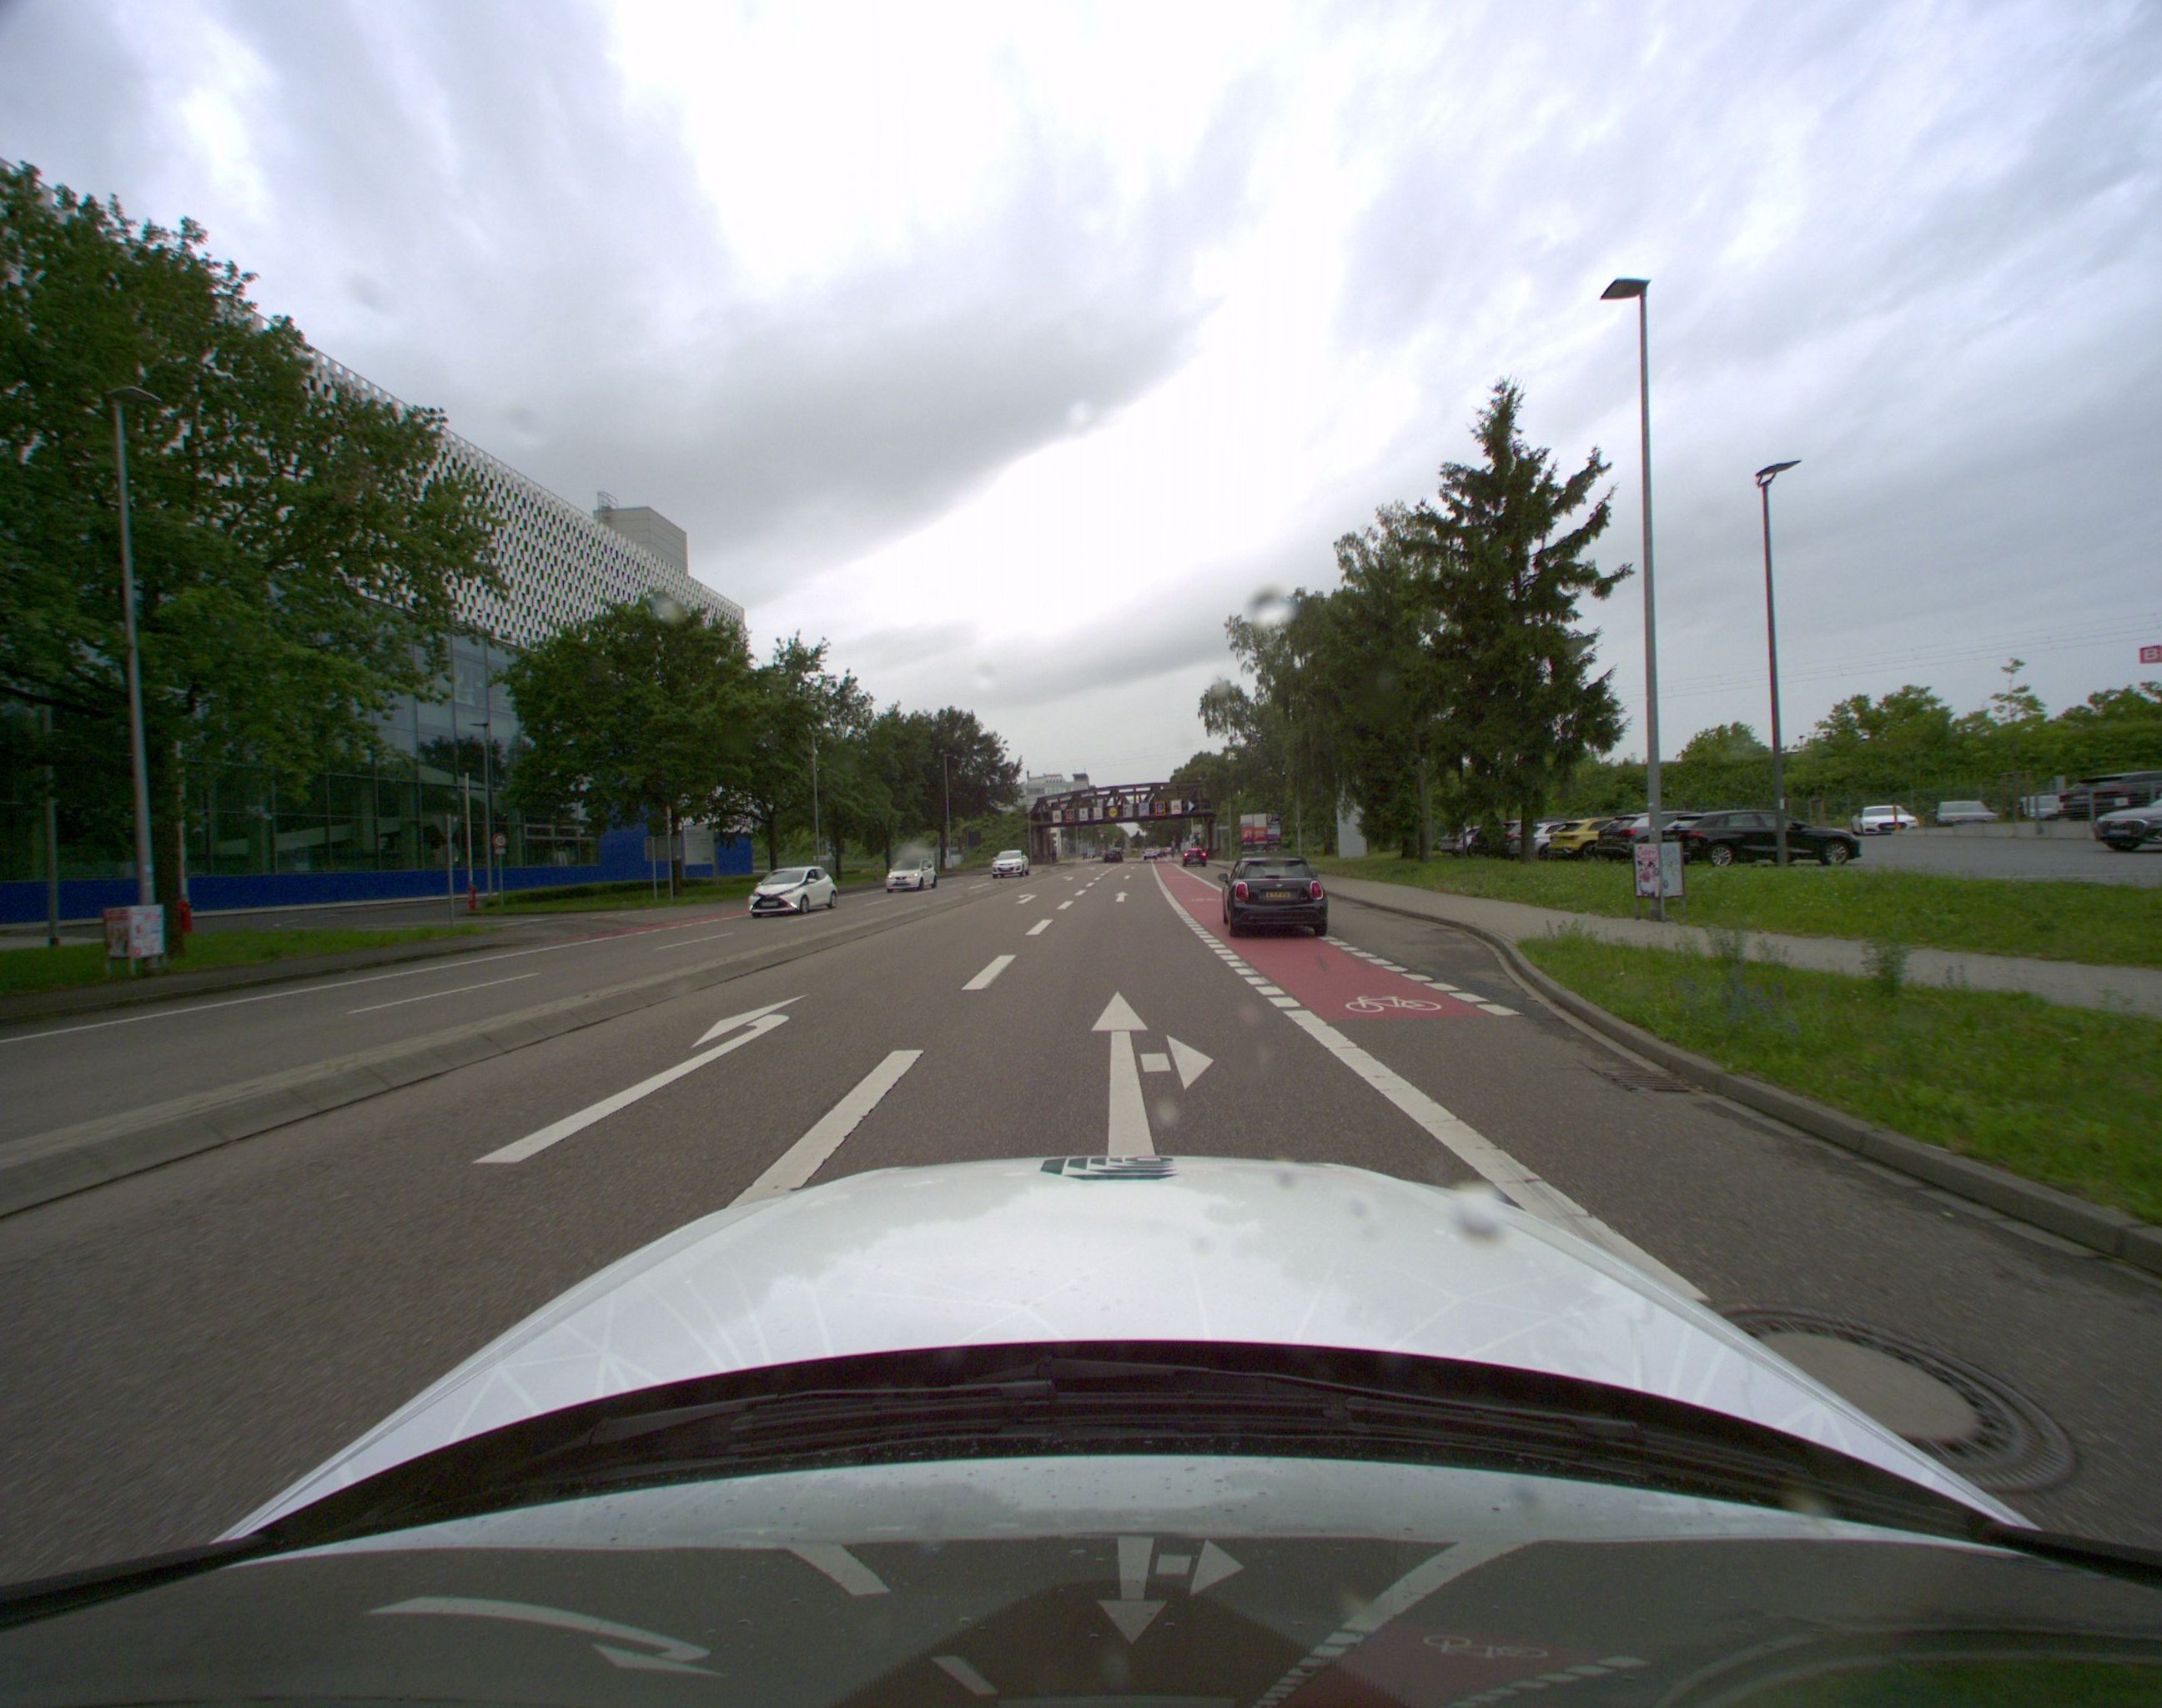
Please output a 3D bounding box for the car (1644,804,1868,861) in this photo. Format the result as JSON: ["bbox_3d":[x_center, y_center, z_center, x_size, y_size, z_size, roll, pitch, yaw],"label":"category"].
[{"bbox_3d":[16.828,-0.526,20.493,3.973,1.353,1.905,1,0,5],"label":"car"}]

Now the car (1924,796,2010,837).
[{"bbox_3d":[39.573,-1.613,36.492,1.944,1.652,4.339,1,1,38],"label":"car"}]

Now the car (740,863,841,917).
[{"bbox_3d":[-9.074,1.078,25.739,1.617,1.423,3.615,-4,0,4],"label":"car"}]

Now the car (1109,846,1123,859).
[{"bbox_3d":[4.532,-0.236,105.176,1.766,1.652,3.670,-1,0,1],"label":"car"}]

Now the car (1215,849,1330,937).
[{"bbox_3d":[3.518,0.652,15.543,1.671,1.431,3.781,-1,0,6],"label":"car"}]

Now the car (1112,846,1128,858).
[{"bbox_3d":[5.434,-0.275,113.495,1.955,1.527,5.011,-1,0,1],"label":"car"}]

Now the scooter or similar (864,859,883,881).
[{"bbox_3d":[-13.362,1.034,52.473,0.444,1.321,1.511,-2,0,14],"label":"scooter or similar"}]

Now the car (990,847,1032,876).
[{"bbox_3d":[-4.326,0.449,50.754,1.810,1.587,4.518,-4,0,4],"label":"car"}]

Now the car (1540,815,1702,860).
[{"bbox_3d":[17.178,-0.530,26.073,3.975,1.379,1.813,1,0,6],"label":"car"}]

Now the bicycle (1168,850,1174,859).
[{"bbox_3d":[13.889,0.069,125.923,0.813,1.212,2.686,-3,0,4],"label":"bicycle"}]

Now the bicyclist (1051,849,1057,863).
[{"bbox_3d":[-3.635,0.269,109.146,0.698,1.874,1.021,-1,-1,4],"label":"bicyclist"}]

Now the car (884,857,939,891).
[{"bbox_3d":[-7.958,0.891,38.539,1.670,1.428,3.652,-2,0,1],"label":"car"}]

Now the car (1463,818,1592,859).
[{"bbox_3d":[18.362,-0.633,33.659,4.281,1.601,1.970,0,0,2],"label":"car"}]

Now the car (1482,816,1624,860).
[{"bbox_3d":[17.908,-0.594,31.059,4.277,1.601,1.972,1,0,5],"label":"car"}]

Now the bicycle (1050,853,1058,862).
[{"bbox_3d":[-3.632,0.489,109.111,0.709,1.187,2.373,-1,0,5],"label":"bicycle"}]

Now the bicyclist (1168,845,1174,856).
[{"bbox_3d":[13.855,-0.587,125.925,0.813,1.630,1.236,-3,0,4],"label":"bicyclist"}]

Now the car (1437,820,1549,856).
[{"bbox_3d":[18.896,-0.723,37.442,4.285,1.489,1.739,-2,0,-2],"label":"car"}]

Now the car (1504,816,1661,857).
[{"bbox_3d":[17.382,-0.603,28.396,4.277,1.382,1.905,1,0,5],"label":"car"}]

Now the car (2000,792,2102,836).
[{"bbox_3d":[41.276,-1.626,34.780,1.944,1.690,4.339,1,1,38],"label":"car"}]

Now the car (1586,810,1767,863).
[{"bbox_3d":[16.838,-0.483,23.193,3.735,1.423,1.955,0,0,3],"label":"car"}]

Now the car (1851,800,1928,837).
[{"bbox_3d":[37.997,-1.608,38.368,1.880,1.566,4.705,1,1,36],"label":"car"}]

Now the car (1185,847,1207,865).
[{"bbox_3d":[8.759,0.148,62.266,1.638,1.281,3.427,-1,0,7],"label":"car"}]

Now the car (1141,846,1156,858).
[{"bbox_3d":[9.646,-0.315,116.525,1.817,1.600,3.777,-1,0,1],"label":"car"}]

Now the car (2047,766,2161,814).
[{"bbox_3d":[33.524,-1.975,25.503,4.281,1.373,1.833,0,0,2],"label":"car"}]

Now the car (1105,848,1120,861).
[{"bbox_3d":[3.760,0.063,98.608,1.762,1.527,3.670,-1,0,1],"label":"car"}]

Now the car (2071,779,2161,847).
[{"bbox_3d":[27.828,-0.973,20.117,4.279,1.601,1.904,0,0,3],"label":"car"}]

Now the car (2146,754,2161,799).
[{"bbox_3d":[33.498,-2.250,23.023,4.281,1.290,1.833,0,0,2],"label":"car"}]
